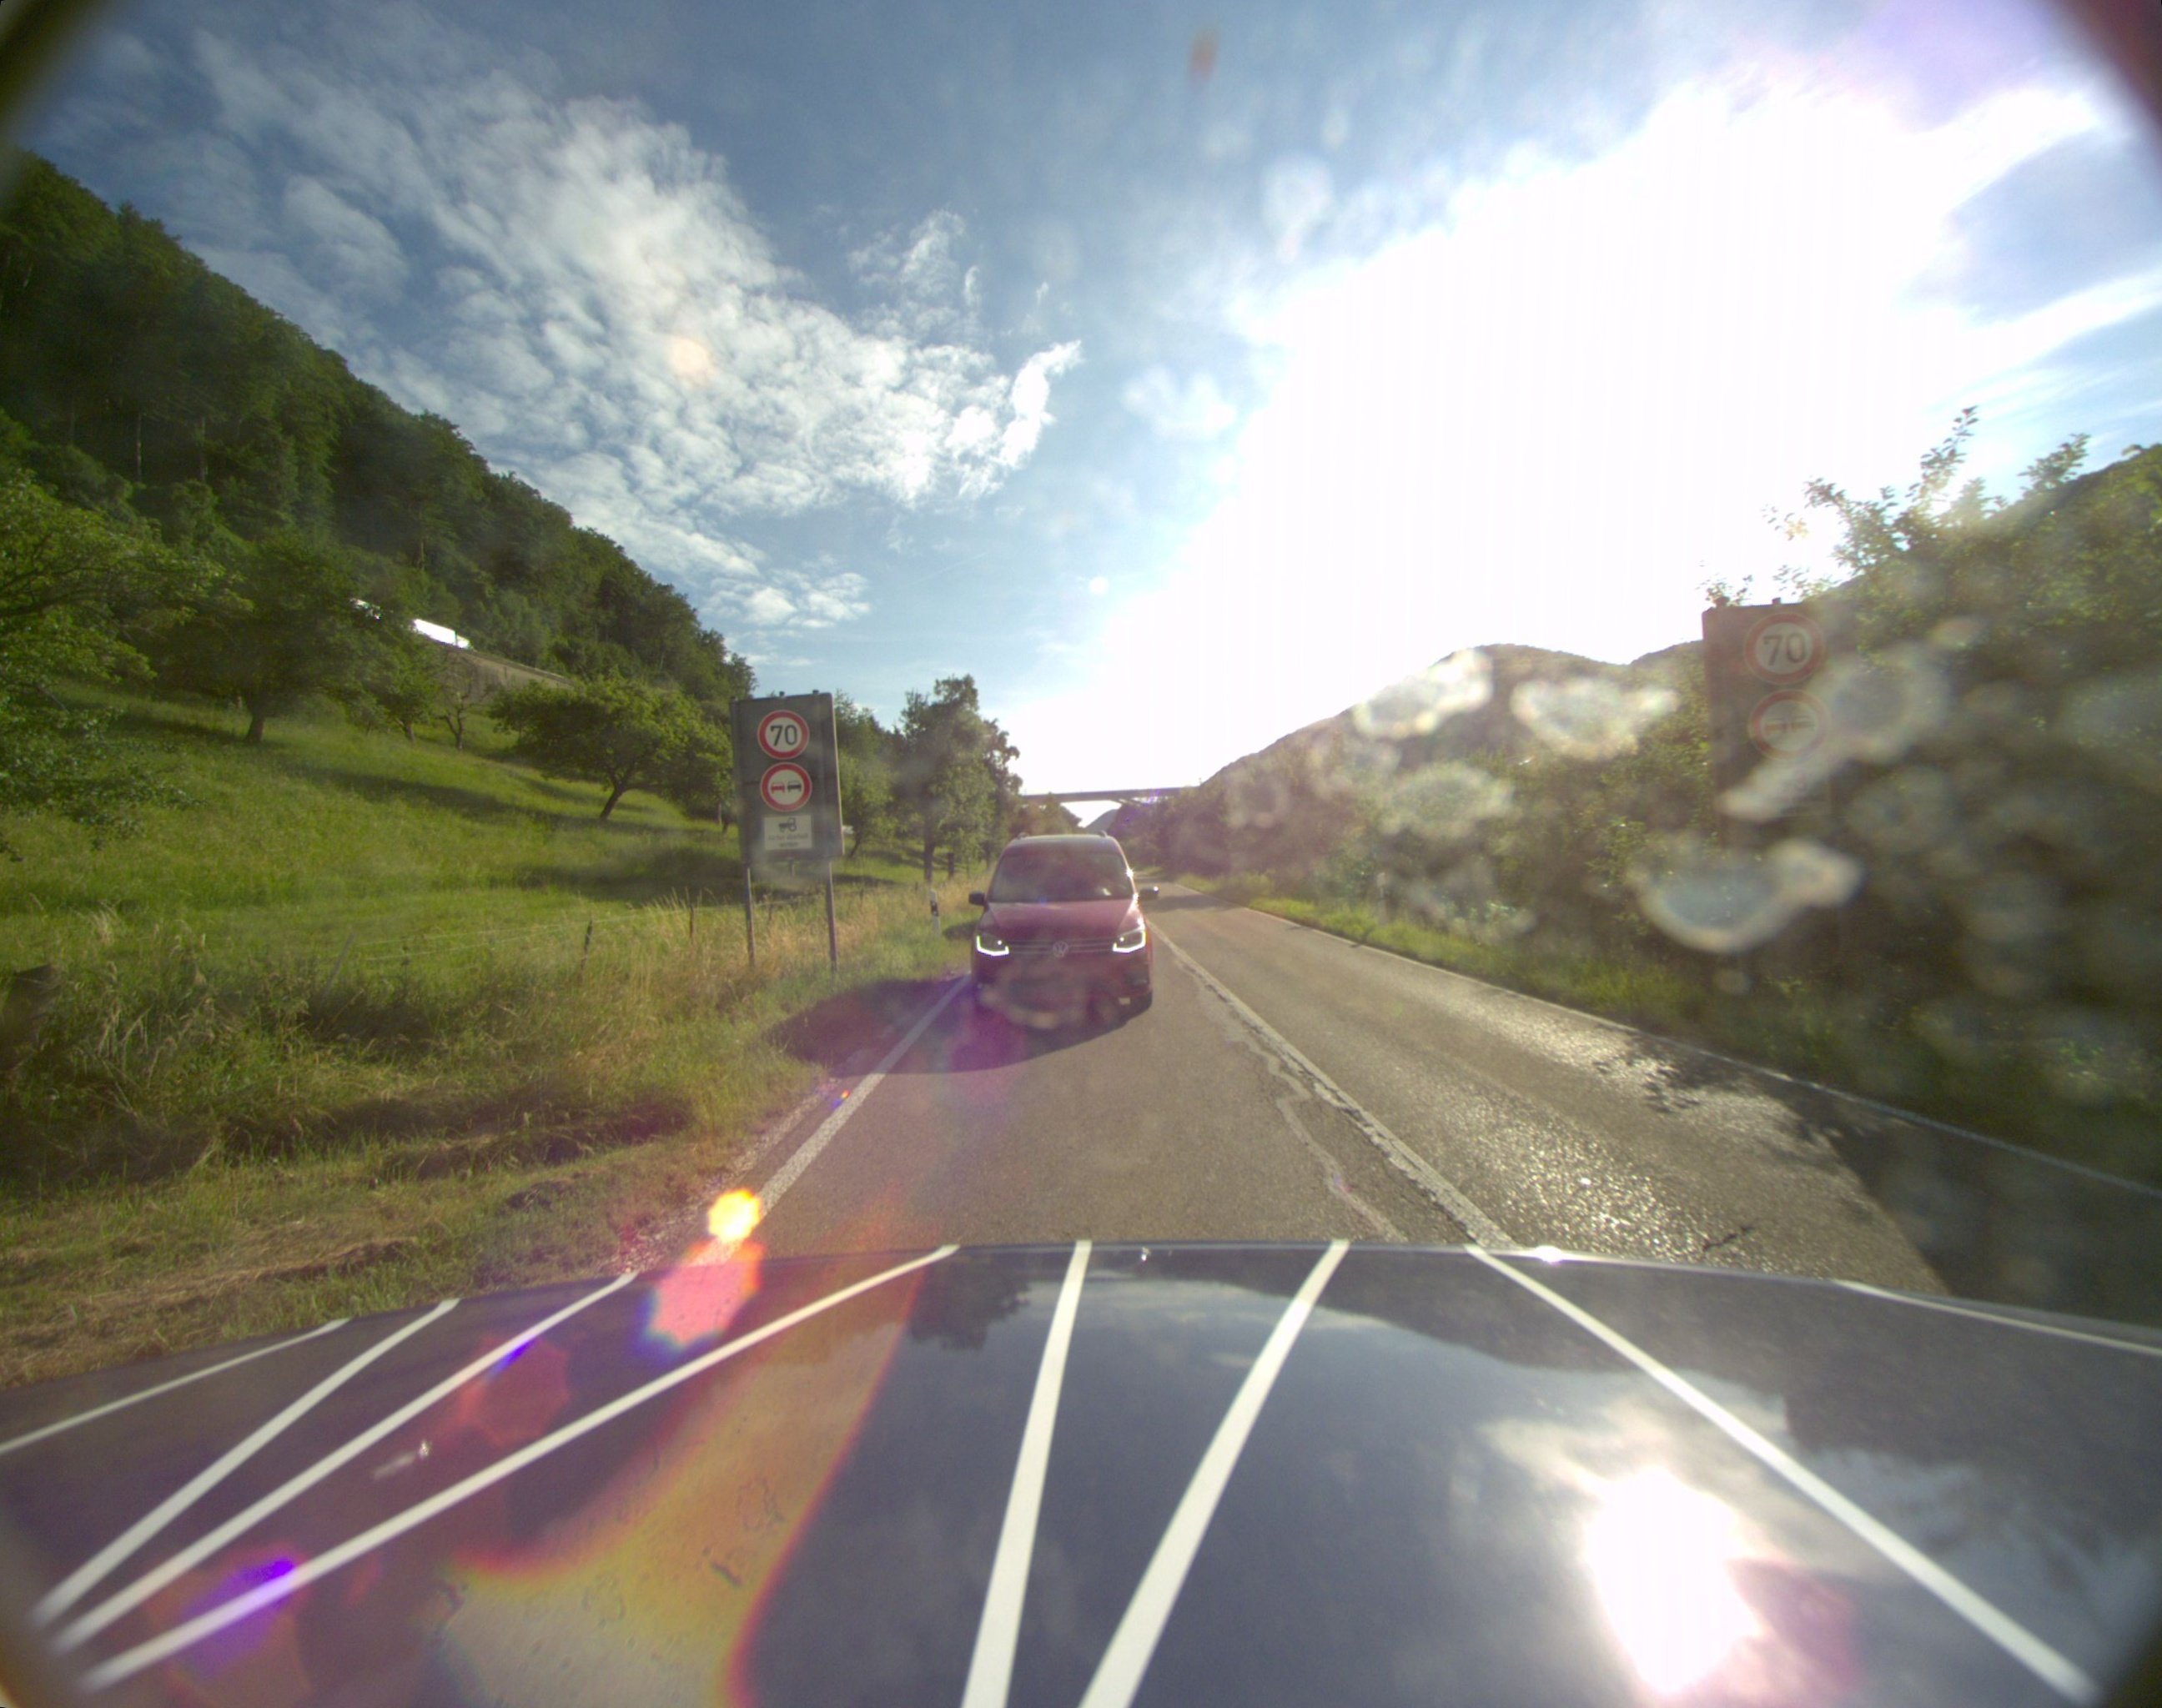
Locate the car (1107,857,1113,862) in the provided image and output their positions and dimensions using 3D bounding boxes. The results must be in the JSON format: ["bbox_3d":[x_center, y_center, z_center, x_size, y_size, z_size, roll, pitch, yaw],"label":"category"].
[{"bbox_3d":[8.793,1.604,226.860,1.696,1.401,3.663,-1,1,1],"label":"car"}]

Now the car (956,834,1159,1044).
[{"bbox_3d":[-0.229,0.745,8.646,1.741,1.803,4.000,-1,0,-1],"label":"car"}]

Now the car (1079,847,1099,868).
[{"bbox_3d":[0.807,0.329,77.303,1.998,2.002,3.999,-2,1,0],"label":"car"}]
